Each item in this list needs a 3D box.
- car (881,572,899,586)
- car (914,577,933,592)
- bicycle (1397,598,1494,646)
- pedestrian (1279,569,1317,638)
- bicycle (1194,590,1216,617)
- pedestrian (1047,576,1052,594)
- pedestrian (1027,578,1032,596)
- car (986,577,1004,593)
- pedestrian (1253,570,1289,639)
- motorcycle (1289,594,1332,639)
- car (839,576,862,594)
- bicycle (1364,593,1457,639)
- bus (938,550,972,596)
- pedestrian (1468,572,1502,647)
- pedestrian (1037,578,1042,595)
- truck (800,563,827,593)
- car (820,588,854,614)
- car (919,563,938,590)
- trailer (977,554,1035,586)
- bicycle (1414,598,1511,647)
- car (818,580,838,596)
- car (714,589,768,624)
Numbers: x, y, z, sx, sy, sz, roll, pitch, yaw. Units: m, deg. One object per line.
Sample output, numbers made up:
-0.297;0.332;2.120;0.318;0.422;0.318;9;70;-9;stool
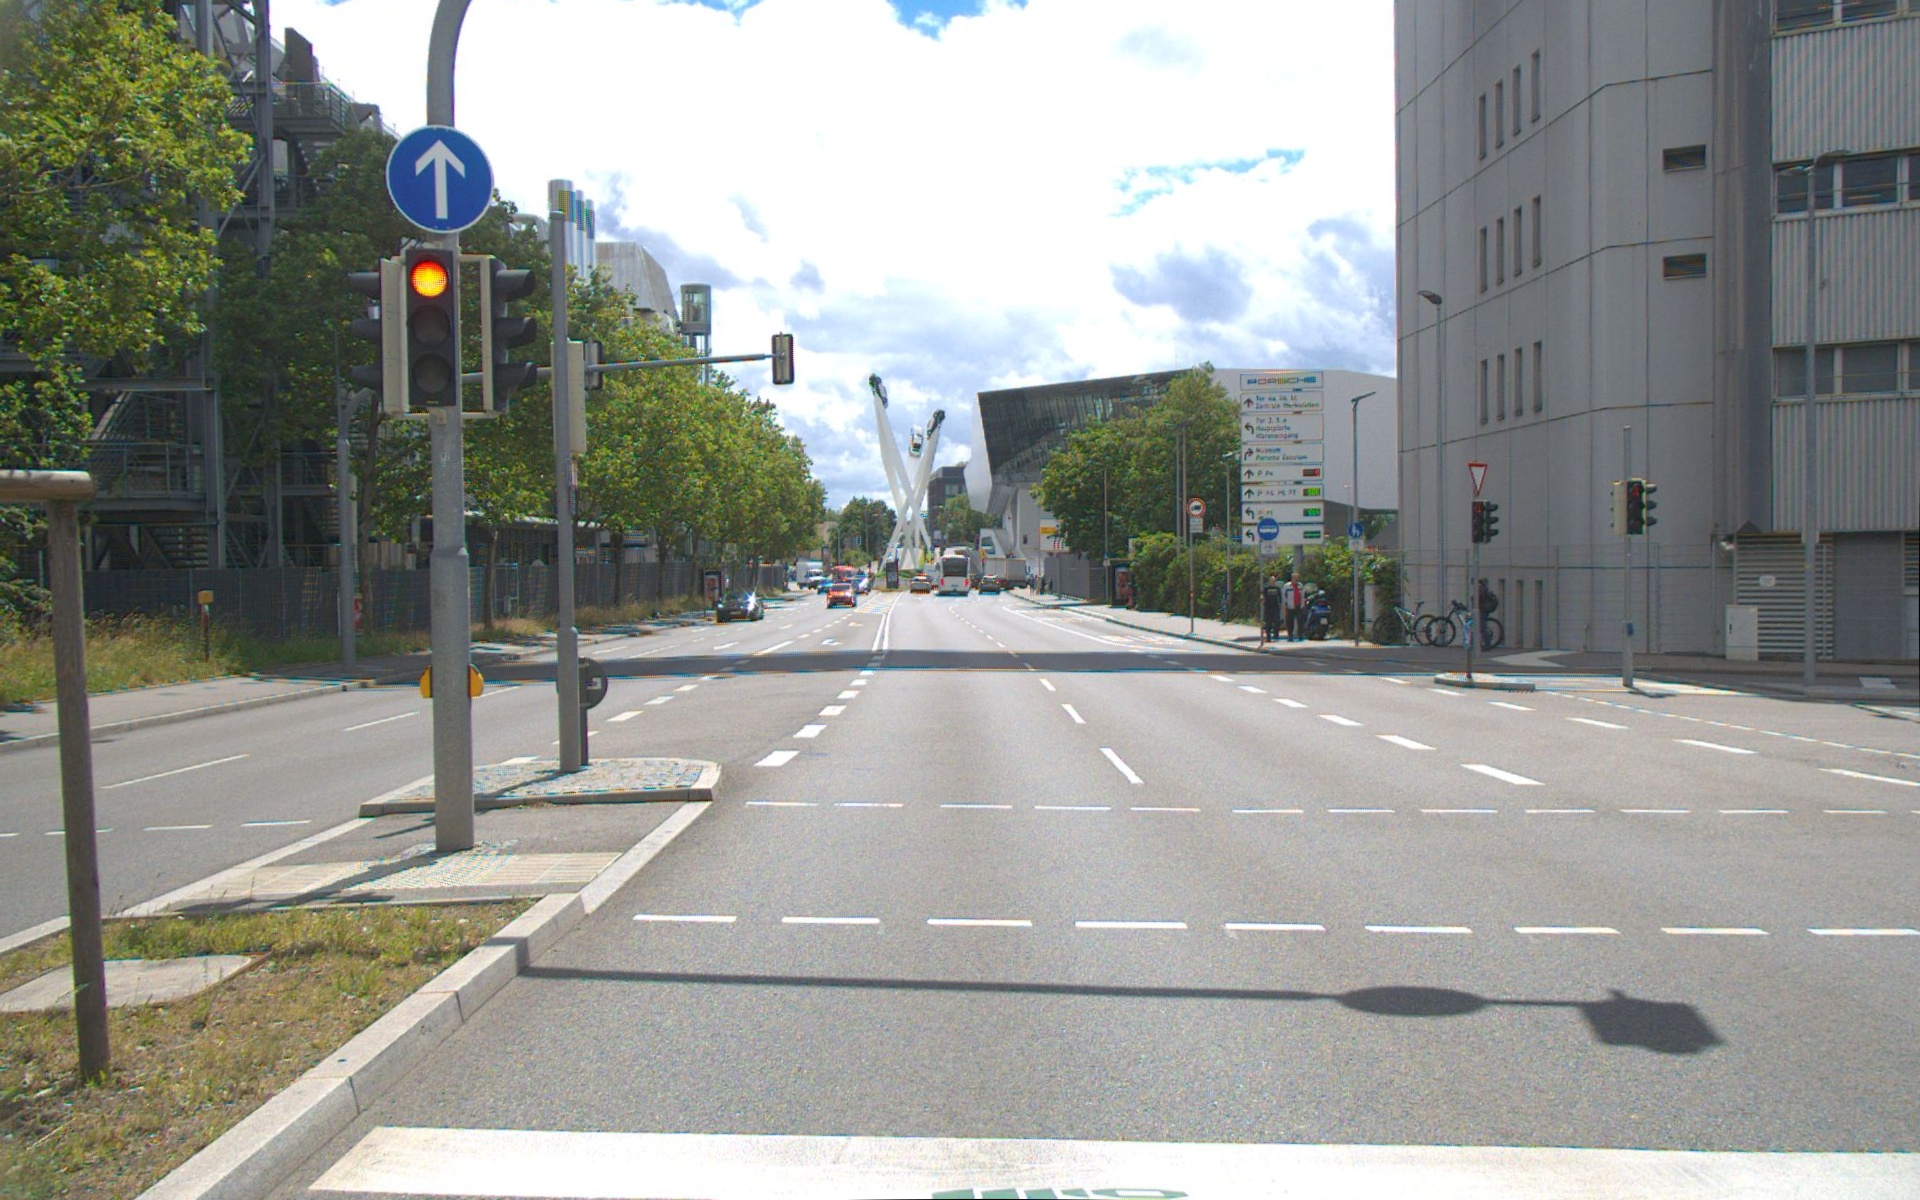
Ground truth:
-6.583;-1.975;155.422;1.525;1.295;3.701;-2;0;0;car
-3.296;-1.406;148.588;1.525;1.295;3.701;-2;0;1;car
11.641;0.525;39.694;2.180;1.105;0.475;1;-1;35;bicycle
9.128;0.096;44.725;0.680;1.825;0.709;-3;1;-16;pedestrian
9.671;0.150;65.395;0.410;1.040;1.910;1;0;-5;bicycle
7.541;-1.248;138.783;0.378;1.446;0.423;1;-1;0;pedestrian
5.798;-1.095;137.974;0.378;1.446;0.423;1;-1;0;pedestrian
3.057;-1.330;146.312;1.525;1.295;3.701;-2;0;1;car
8.424;0.130;44.766;0.631;1.825;0.709;-3;1;-16;pedestrian
9.550;0.448;45.148;0.410;1.186;1.951;1;0;-11;motorcycle
-9.382;-1.280;141.776;1.733;1.445;3.701;-2;0;0;car
11.156;0.383;41.019;2.180;1.105;0.475;1;-1;35;bicycle
-0.417;-2.234;140.890;2.730;3.750;6.942;1;0;0;bus
11.916;0.210;37.530;0.643;1.669;0.534;1;-1;27;pedestrian
6.619;-1.103;137.755;0.378;1.446;0.423;1;-1;0;pedestrian
-17.370;-2.633;196.313;2.538;3.382;7.078;1;0;0;truck
-7.458;0.032;100.716;1.733;1.445;3.701;-2;0;0;car
-3.279;-2.432;171.382;1.807;2.669;3.998;1;0;-3;car
4.867;-3.048;172.240;3.250;3.047;10.380;1;0;18;trailer
11.813;0.525;38.937;2.149;1.105;0.475;1;-1;35;bicycle
-12.739;-1.164;160.291;1.761;1.601;3.998;0;0;-2;car
-10.402;0.300;78.932;1.878;1.514;4.772;-2;0;0;car
